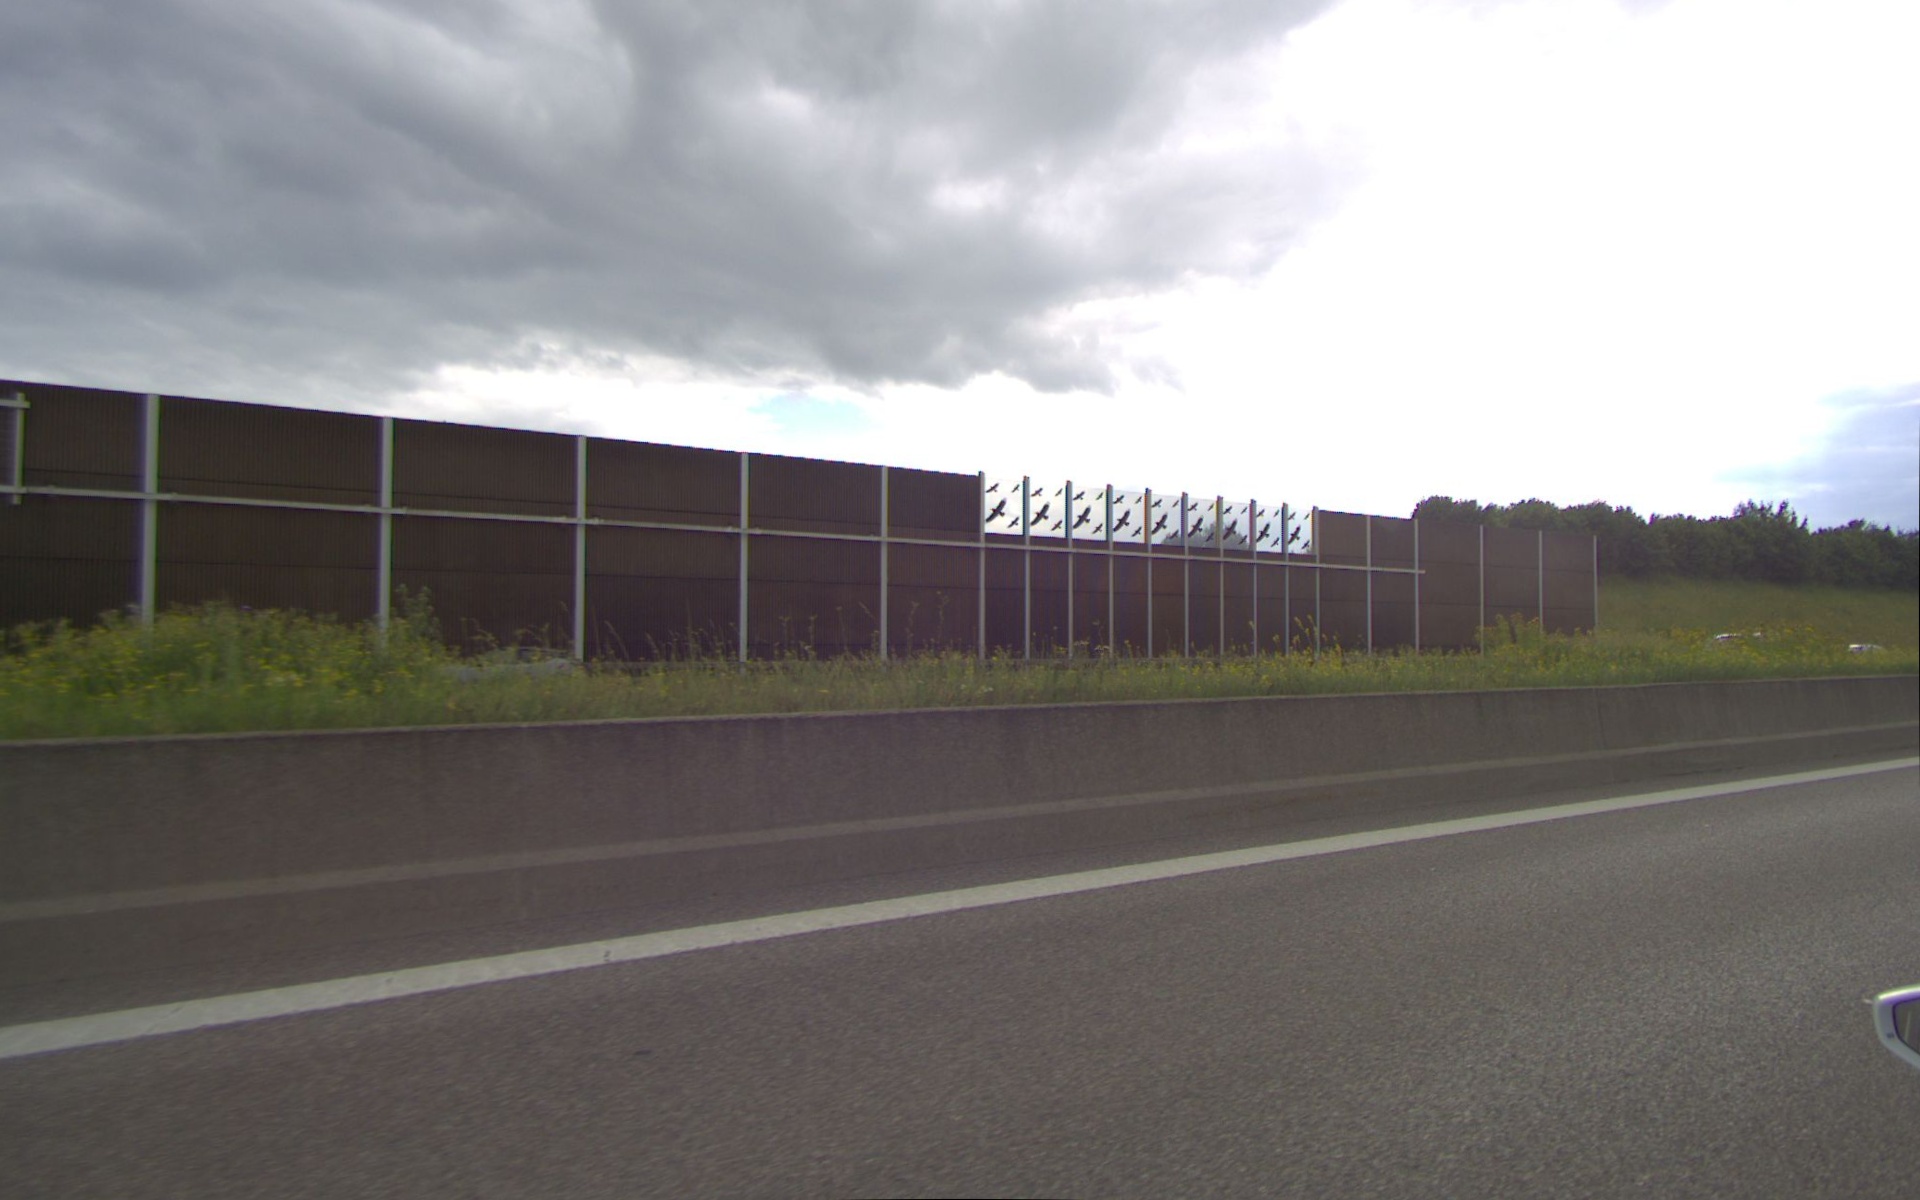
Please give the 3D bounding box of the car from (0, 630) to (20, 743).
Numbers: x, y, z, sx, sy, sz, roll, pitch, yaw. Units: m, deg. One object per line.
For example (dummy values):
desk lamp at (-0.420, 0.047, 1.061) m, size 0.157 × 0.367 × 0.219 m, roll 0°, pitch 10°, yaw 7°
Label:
car at (-12.479, 0.946, 10.226) m, size 3.956 × 1.274 × 1.696 m, roll 1°, pitch -2°, yaw -32°
